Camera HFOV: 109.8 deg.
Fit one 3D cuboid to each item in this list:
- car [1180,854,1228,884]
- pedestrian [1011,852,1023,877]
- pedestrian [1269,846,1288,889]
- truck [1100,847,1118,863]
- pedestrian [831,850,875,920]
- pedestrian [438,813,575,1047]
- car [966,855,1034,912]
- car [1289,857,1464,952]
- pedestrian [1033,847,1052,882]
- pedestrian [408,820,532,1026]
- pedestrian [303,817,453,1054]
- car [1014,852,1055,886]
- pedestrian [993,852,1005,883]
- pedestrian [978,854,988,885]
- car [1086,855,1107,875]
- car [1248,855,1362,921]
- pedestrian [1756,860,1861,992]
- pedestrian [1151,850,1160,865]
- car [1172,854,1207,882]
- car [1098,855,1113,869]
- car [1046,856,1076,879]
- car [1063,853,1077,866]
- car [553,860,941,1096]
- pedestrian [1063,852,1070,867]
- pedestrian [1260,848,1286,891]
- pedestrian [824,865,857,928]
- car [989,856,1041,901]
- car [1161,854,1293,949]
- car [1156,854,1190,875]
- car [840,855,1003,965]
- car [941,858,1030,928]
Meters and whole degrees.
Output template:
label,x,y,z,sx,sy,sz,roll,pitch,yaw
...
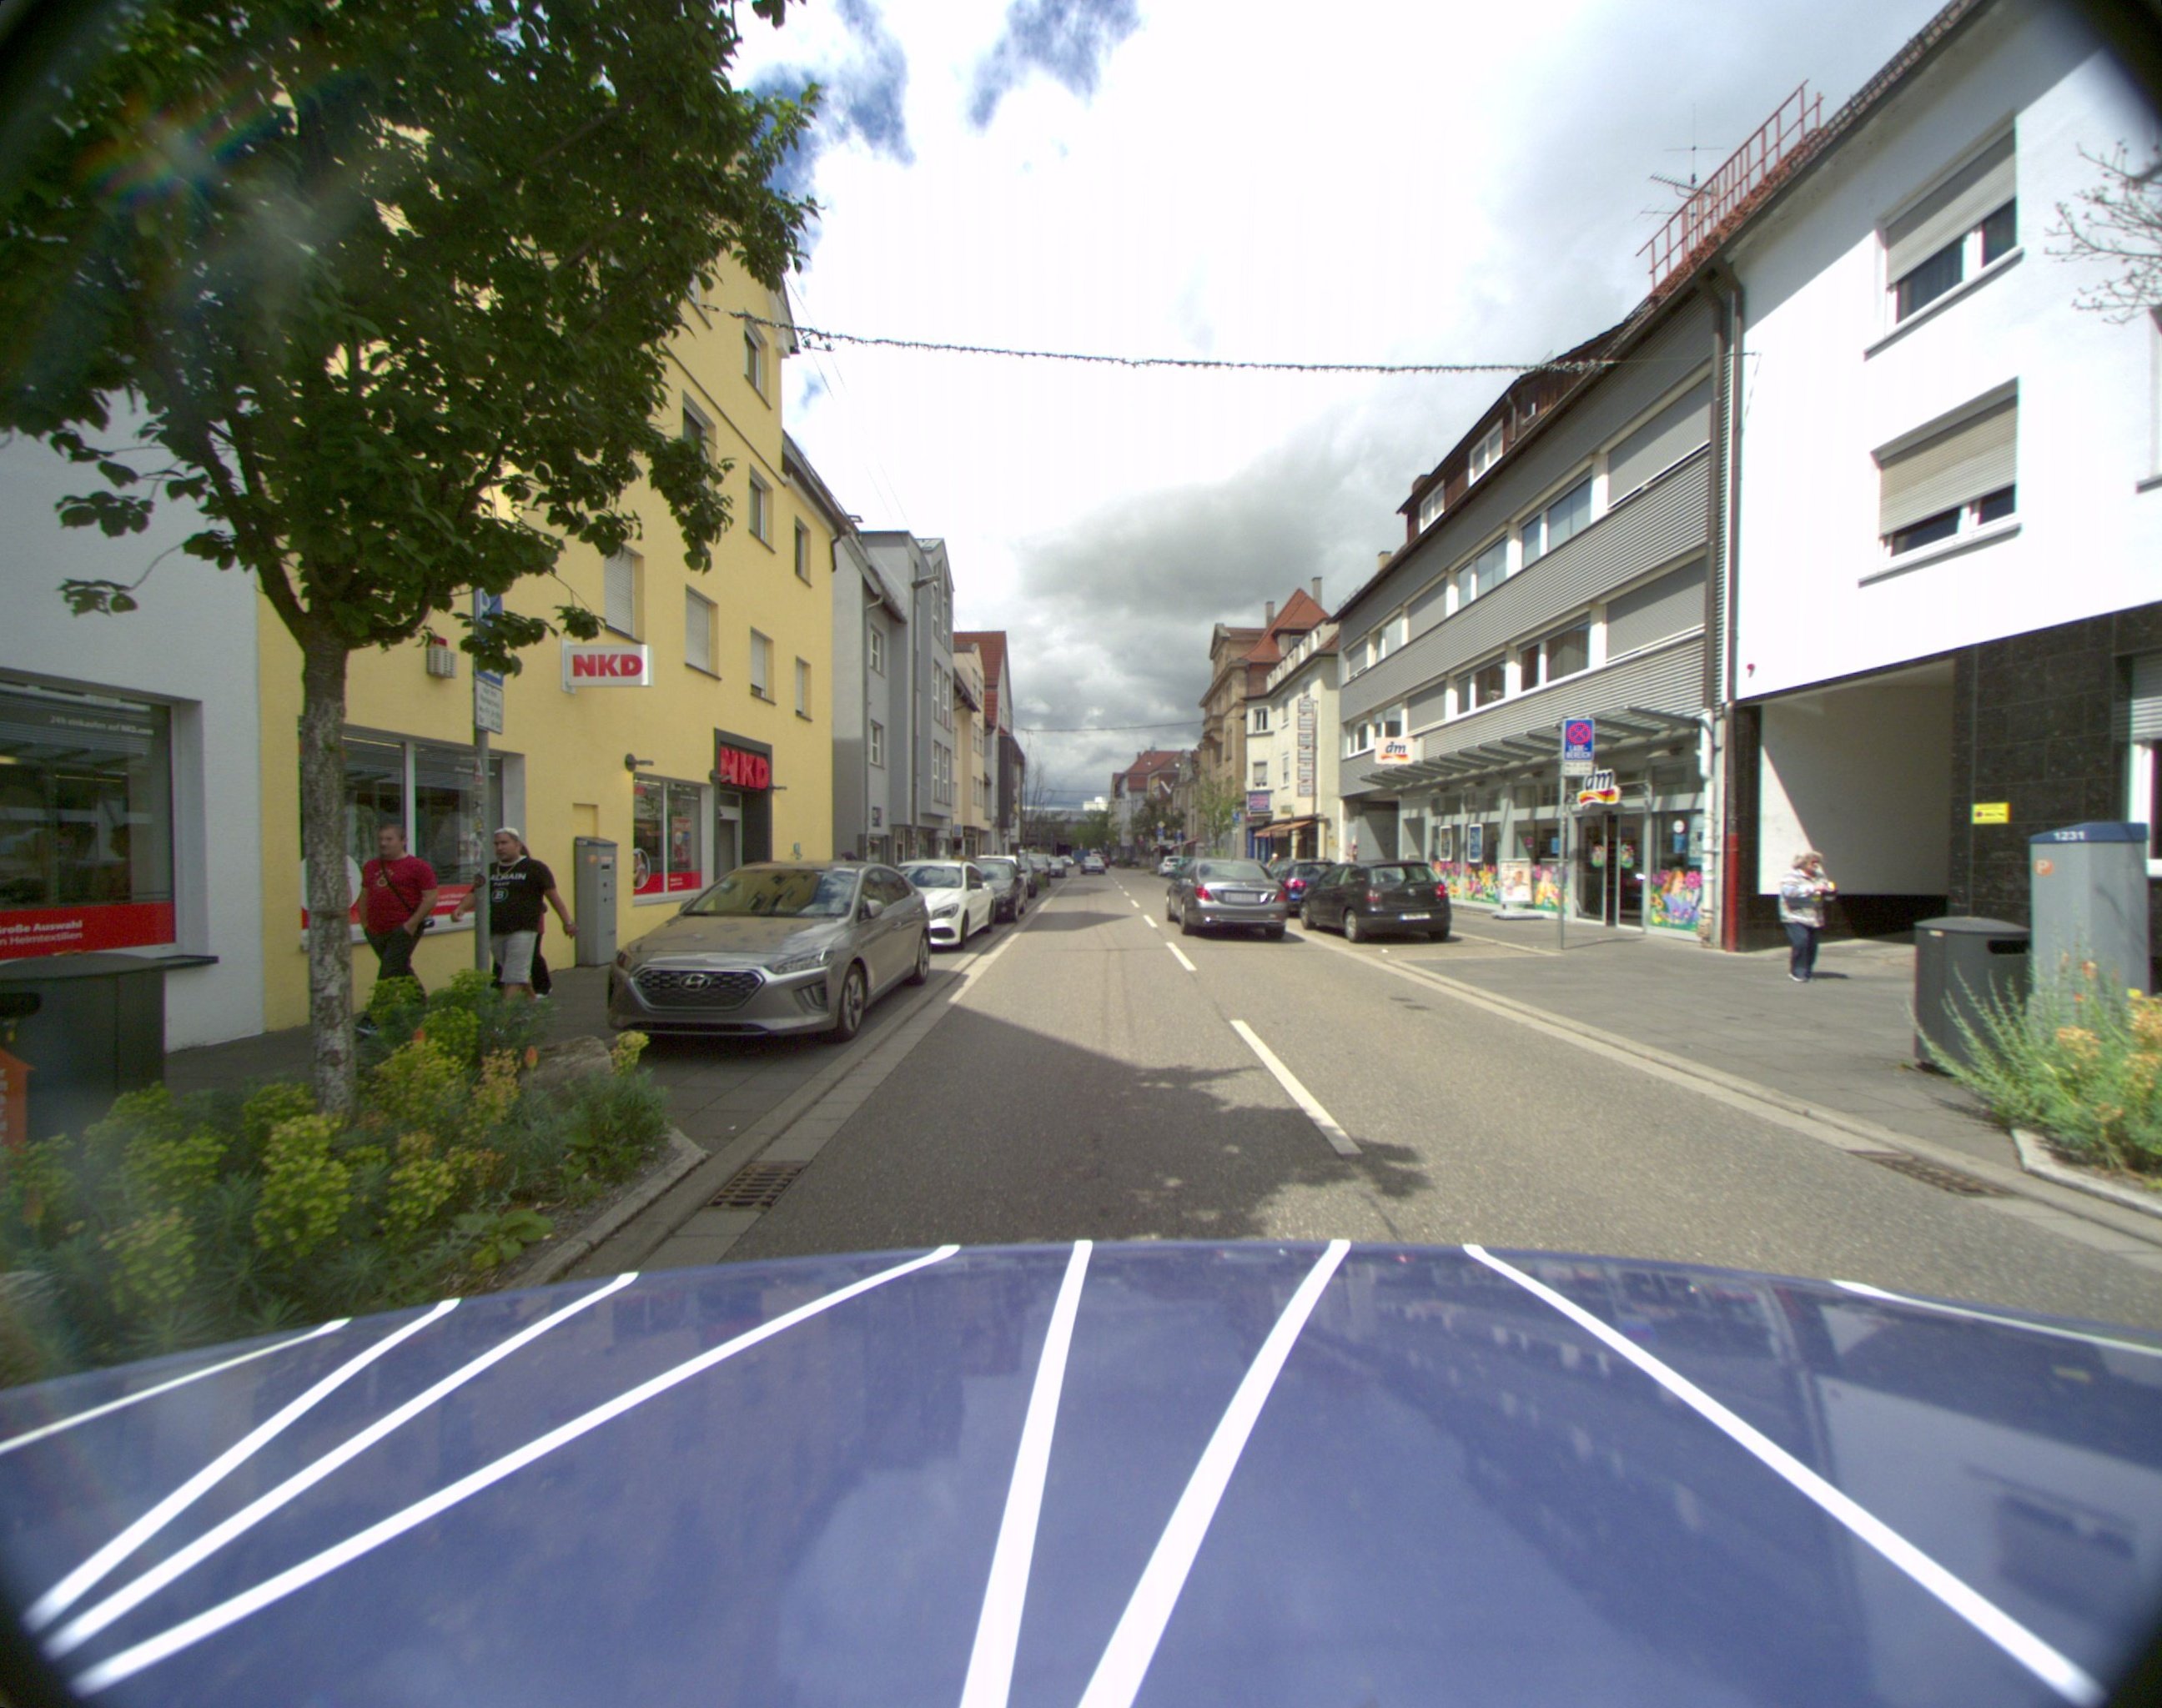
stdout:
label,x,y,z,sx,sy,sz,roll,pitch,yaw
car,6.377,0.743,39.754,1.602,1.437,3.555,-2,0,-6
pedestrian,-4.410,0.741,52.463,0.745,1.708,0.655,0,1,0
pedestrian,8.193,0.567,31.572,0.549,1.747,0.728,-2,1,-2
truck,4.266,0.072,115.689,2.112,2.292,6.472,-2,1,-3
pedestrian,-5.146,0.687,17.193,0.751,1.544,0.726,0,1,0
pedestrian,-4.705,0.600,6.258,0.589,1.830,0.576,-2,1,2
car,-2.465,0.858,23.964,1.693,1.565,3.755,-2,1,0
car,5.583,0.863,14.969,1.795,1.495,4.177,-2,1,0
pedestrian,-2.081,0.564,41.152,0.978,1.853,0.864,1,1,0
pedestrian,-5.674,0.619,7.083,0.589,1.830,0.576,-2,1,2
pedestrian,-5.704,0.635,6.198,0.589,1.830,0.576,-2,1,2
car,-2.306,0.705,38.463,1.804,1.594,4.203,1,0,-1
pedestrian,-4.599,0.733,42.734,0.537,1.708,0.606,-2,1,0
pedestrian,-5.489,0.860,42.671,0.437,1.708,0.537,-2,1,-2
car,1.293,0.888,62.544,1.724,1.517,3.598,0,0,1
car,5.932,0.830,20.725,1.794,1.504,4.712,-2,1,2
pedestrian,8.378,0.804,8.770,0.655,1.446,0.563,-2,1,2
pedestrian,9.117,0.406,92.866,0.801,1.746,0.812,-2,1,-11
car,6.289,0.784,44.216,1.589,1.406,3.668,-2,1,2
car,2.807,0.902,86.523,1.536,1.521,3.758,-2,1,0
car,-1.353,0.932,53.143,1.711,1.412,4.318,-2,1,4
car,-1.456,0.685,100.498,1.804,1.594,4.203,1,0,-1
car,-2.693,0.872,7.389,1.725,1.467,4.353,-2,1,1
pedestrian,-1.612,0.589,83.853,0.584,1.591,0.549,-1,2,18
pedestrian,7.260,0.580,28.748,0.733,1.609,0.651,-2,1,-4
pedestrian,-5.253,0.914,16.636,0.445,1.356,0.539,0,1,17
car,-2.441,0.868,28.824,1.694,1.432,4.294,2,1,-2
car,2.781,0.825,15.565,1.910,1.554,4.645,1,1,1
car,6.632,0.722,55.080,1.850,1.390,4.035,-2,1,-2
car,-2.604,0.830,13.641,1.634,1.467,4.957,-2,1,2
car,-2.215,0.900,18.760,1.693,1.463,4.523,-2,-1,-1
